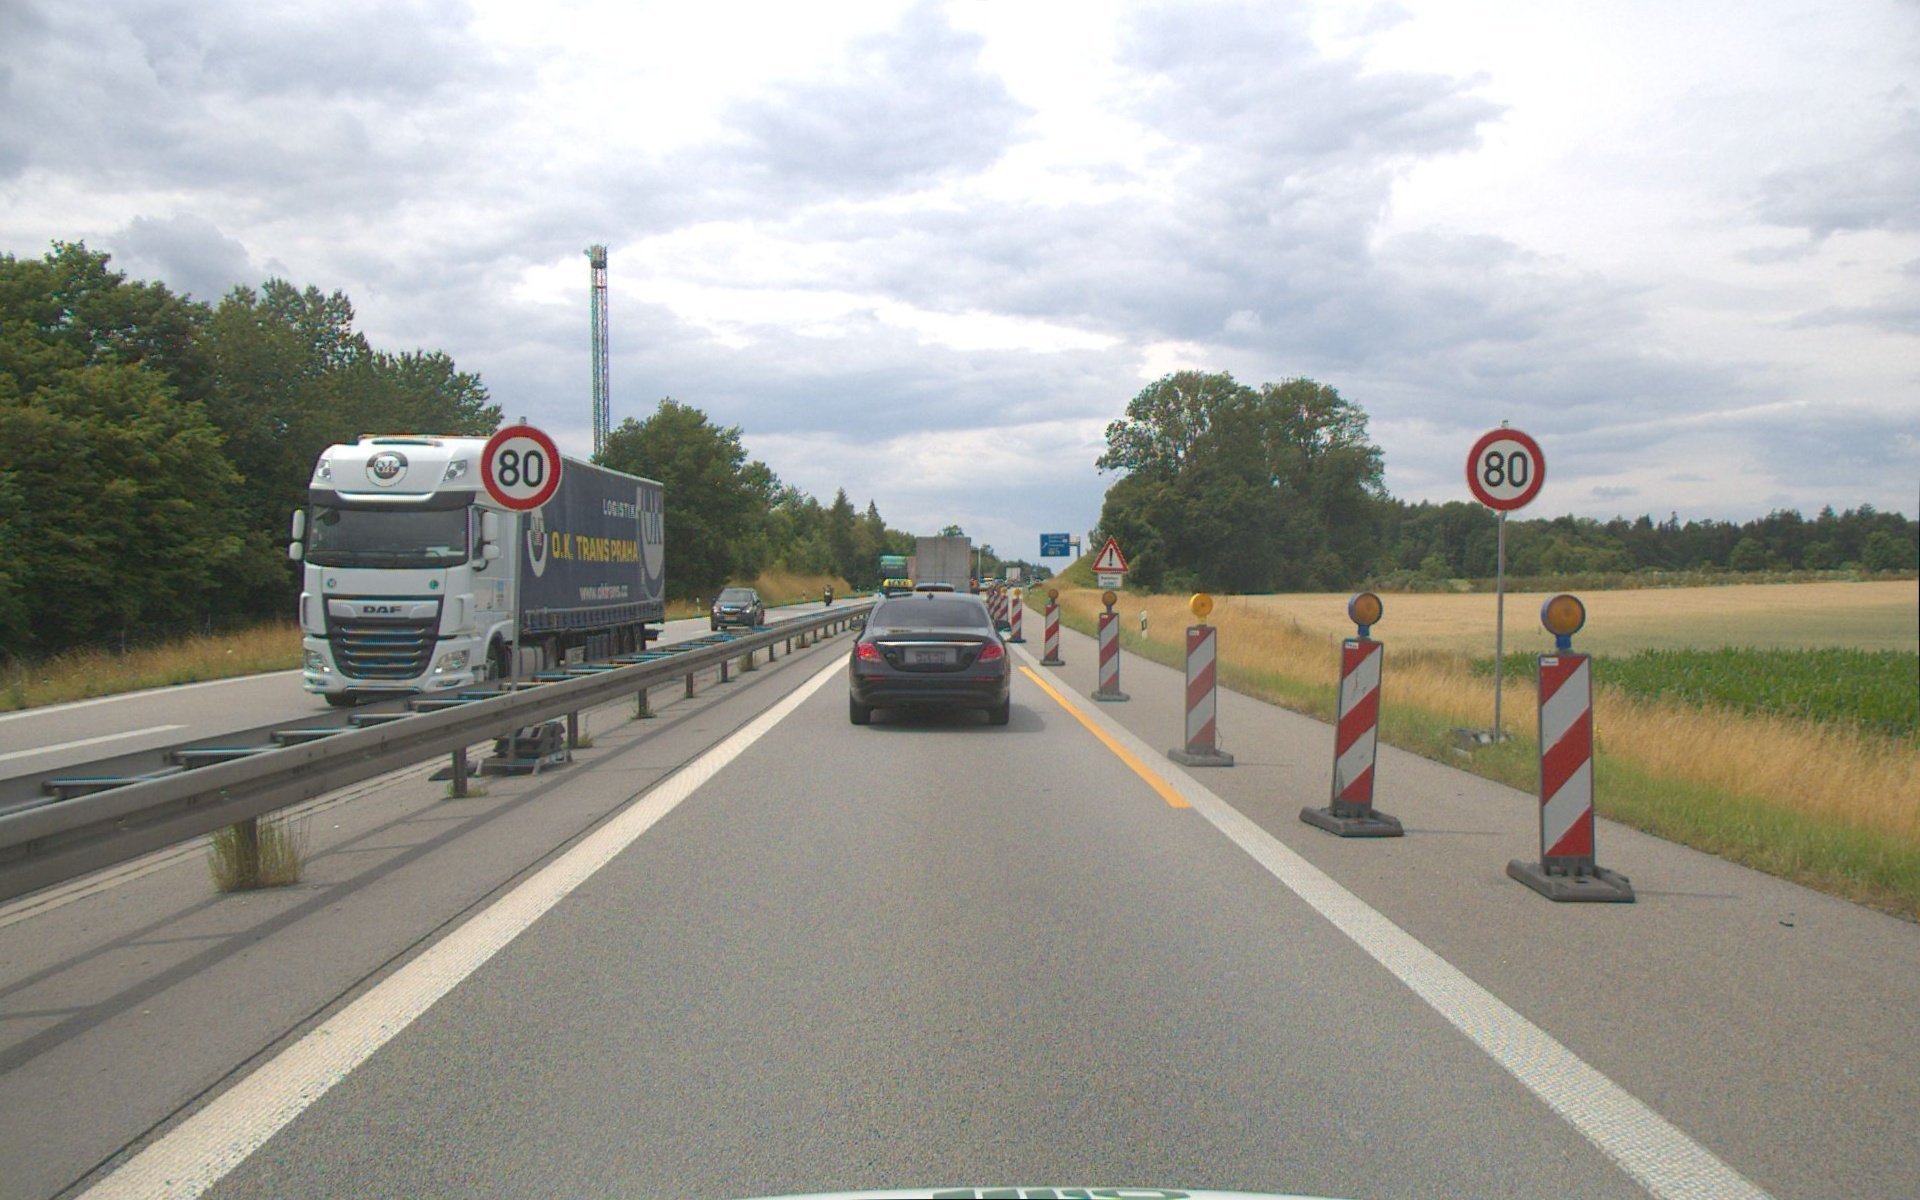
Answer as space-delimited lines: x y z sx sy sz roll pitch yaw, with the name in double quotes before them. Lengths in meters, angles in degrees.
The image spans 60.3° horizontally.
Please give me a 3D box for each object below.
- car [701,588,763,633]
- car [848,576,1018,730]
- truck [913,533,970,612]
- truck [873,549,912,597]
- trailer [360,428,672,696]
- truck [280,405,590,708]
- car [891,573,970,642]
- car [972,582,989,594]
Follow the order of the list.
"car" -9.046 0.412 65.941 1.953 1.713 4.232 1 0 -1
"car" -0.353 0.564 19.413 1.759 1.587 3.998 1 0 -2
"truck" -0.905 -1.250 77.968 2.534 3.586 4.811 1 0 -2
"truck" -6.283 -2.490 154.588 3.058 4.287 6.783 1 0 2
"trailer" -8.283 -0.596 33.253 2.742 4.246 13.561 1 0 -1
"truck" -8.174 -0.596 26.839 2.742 4.214 7.227 1 0 -1
"car" -0.965 0.233 52.313 1.957 2.049 3.992 1 0 -9
"car" 2.334 -1.371 191.184 1.617 1.420 3.702 1 0 -4
